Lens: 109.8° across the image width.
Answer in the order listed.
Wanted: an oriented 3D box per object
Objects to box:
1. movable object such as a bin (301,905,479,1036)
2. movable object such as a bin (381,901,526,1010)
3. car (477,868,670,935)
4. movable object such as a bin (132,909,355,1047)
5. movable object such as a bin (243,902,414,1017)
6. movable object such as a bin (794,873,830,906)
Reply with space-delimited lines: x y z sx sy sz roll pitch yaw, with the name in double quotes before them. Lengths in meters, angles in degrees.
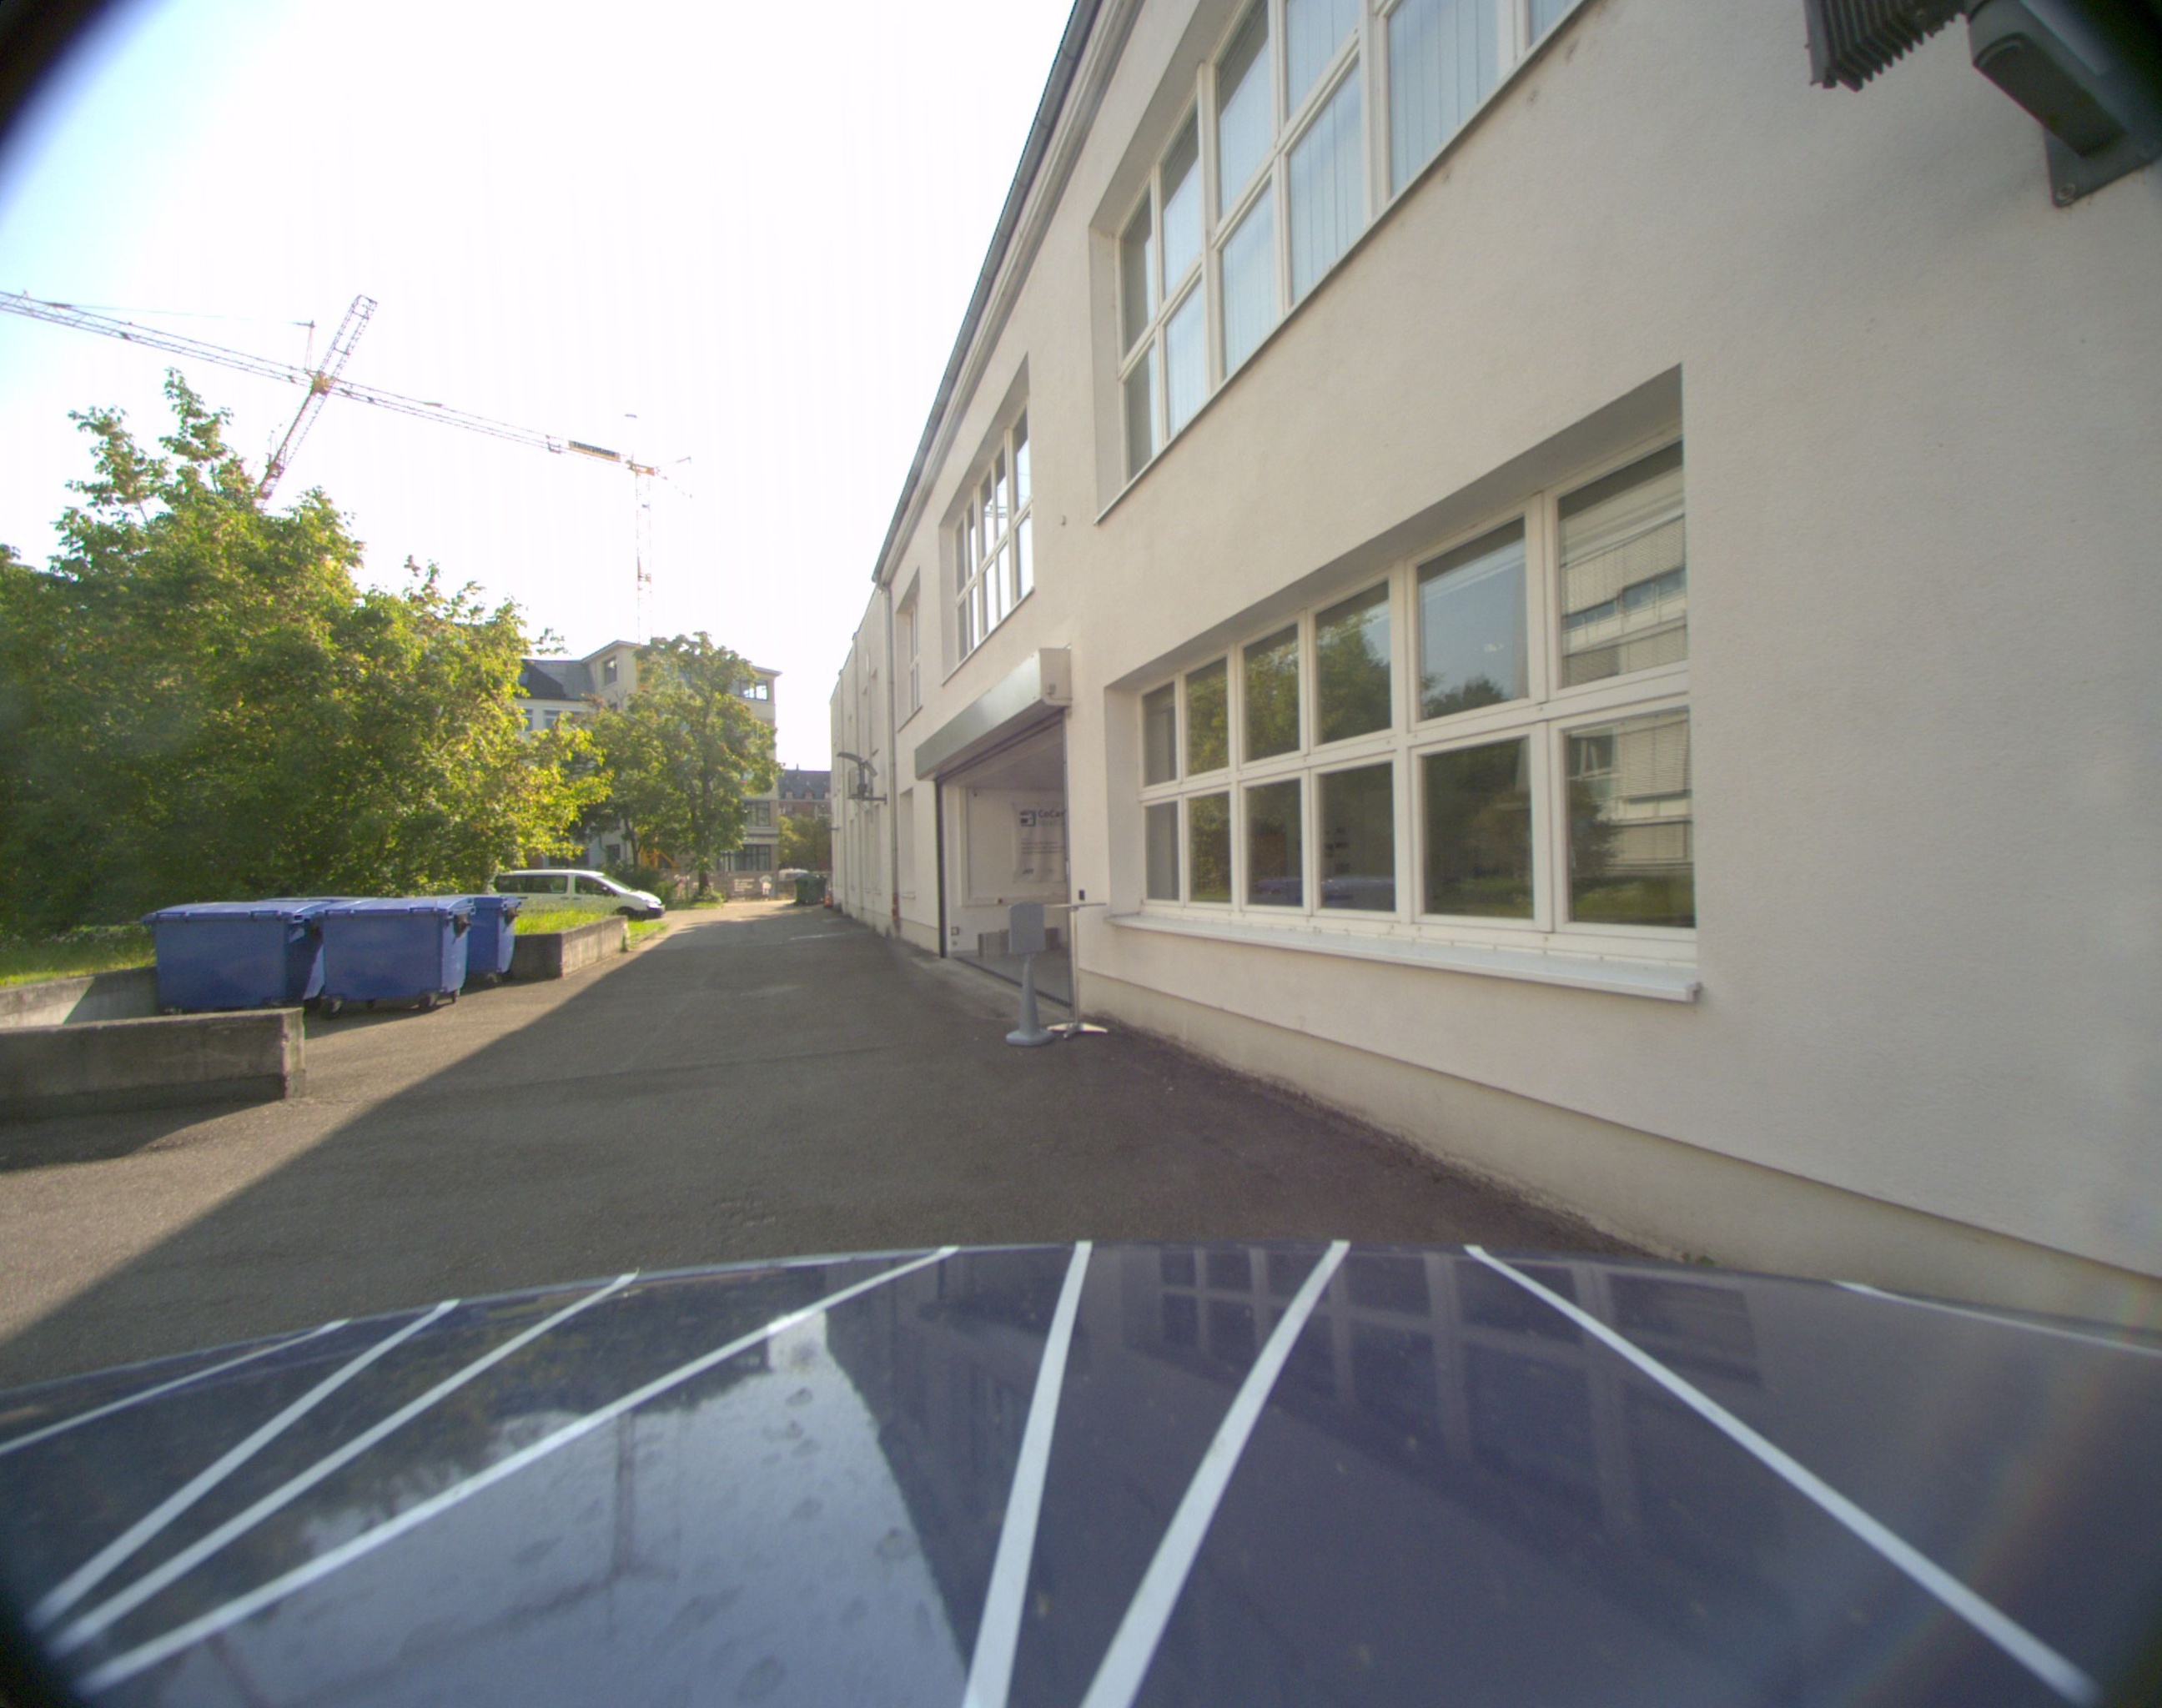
"movable object such as a bin" -8.262 1.336 9.194 1.216 1.343 1.273 -2 0 -24
"movable object such as a bin" -8.763 1.371 10.699 1.202 1.319 1.273 -2 0 -21
"car" -16.048 1.454 24.357 4.798 1.920 1.906 -1 -1 -20
"movable object such as a bin" -9.522 1.354 8.747 1.259 1.319 1.273 -2 0 -21
"movable object such as a bin" -10.052 1.363 10.245 1.202 1.319 1.273 -2 0 -21
"movable object such as a bin" -12.731 1.646 35.919 1.527 1.457 1.273 -2 0 -21
